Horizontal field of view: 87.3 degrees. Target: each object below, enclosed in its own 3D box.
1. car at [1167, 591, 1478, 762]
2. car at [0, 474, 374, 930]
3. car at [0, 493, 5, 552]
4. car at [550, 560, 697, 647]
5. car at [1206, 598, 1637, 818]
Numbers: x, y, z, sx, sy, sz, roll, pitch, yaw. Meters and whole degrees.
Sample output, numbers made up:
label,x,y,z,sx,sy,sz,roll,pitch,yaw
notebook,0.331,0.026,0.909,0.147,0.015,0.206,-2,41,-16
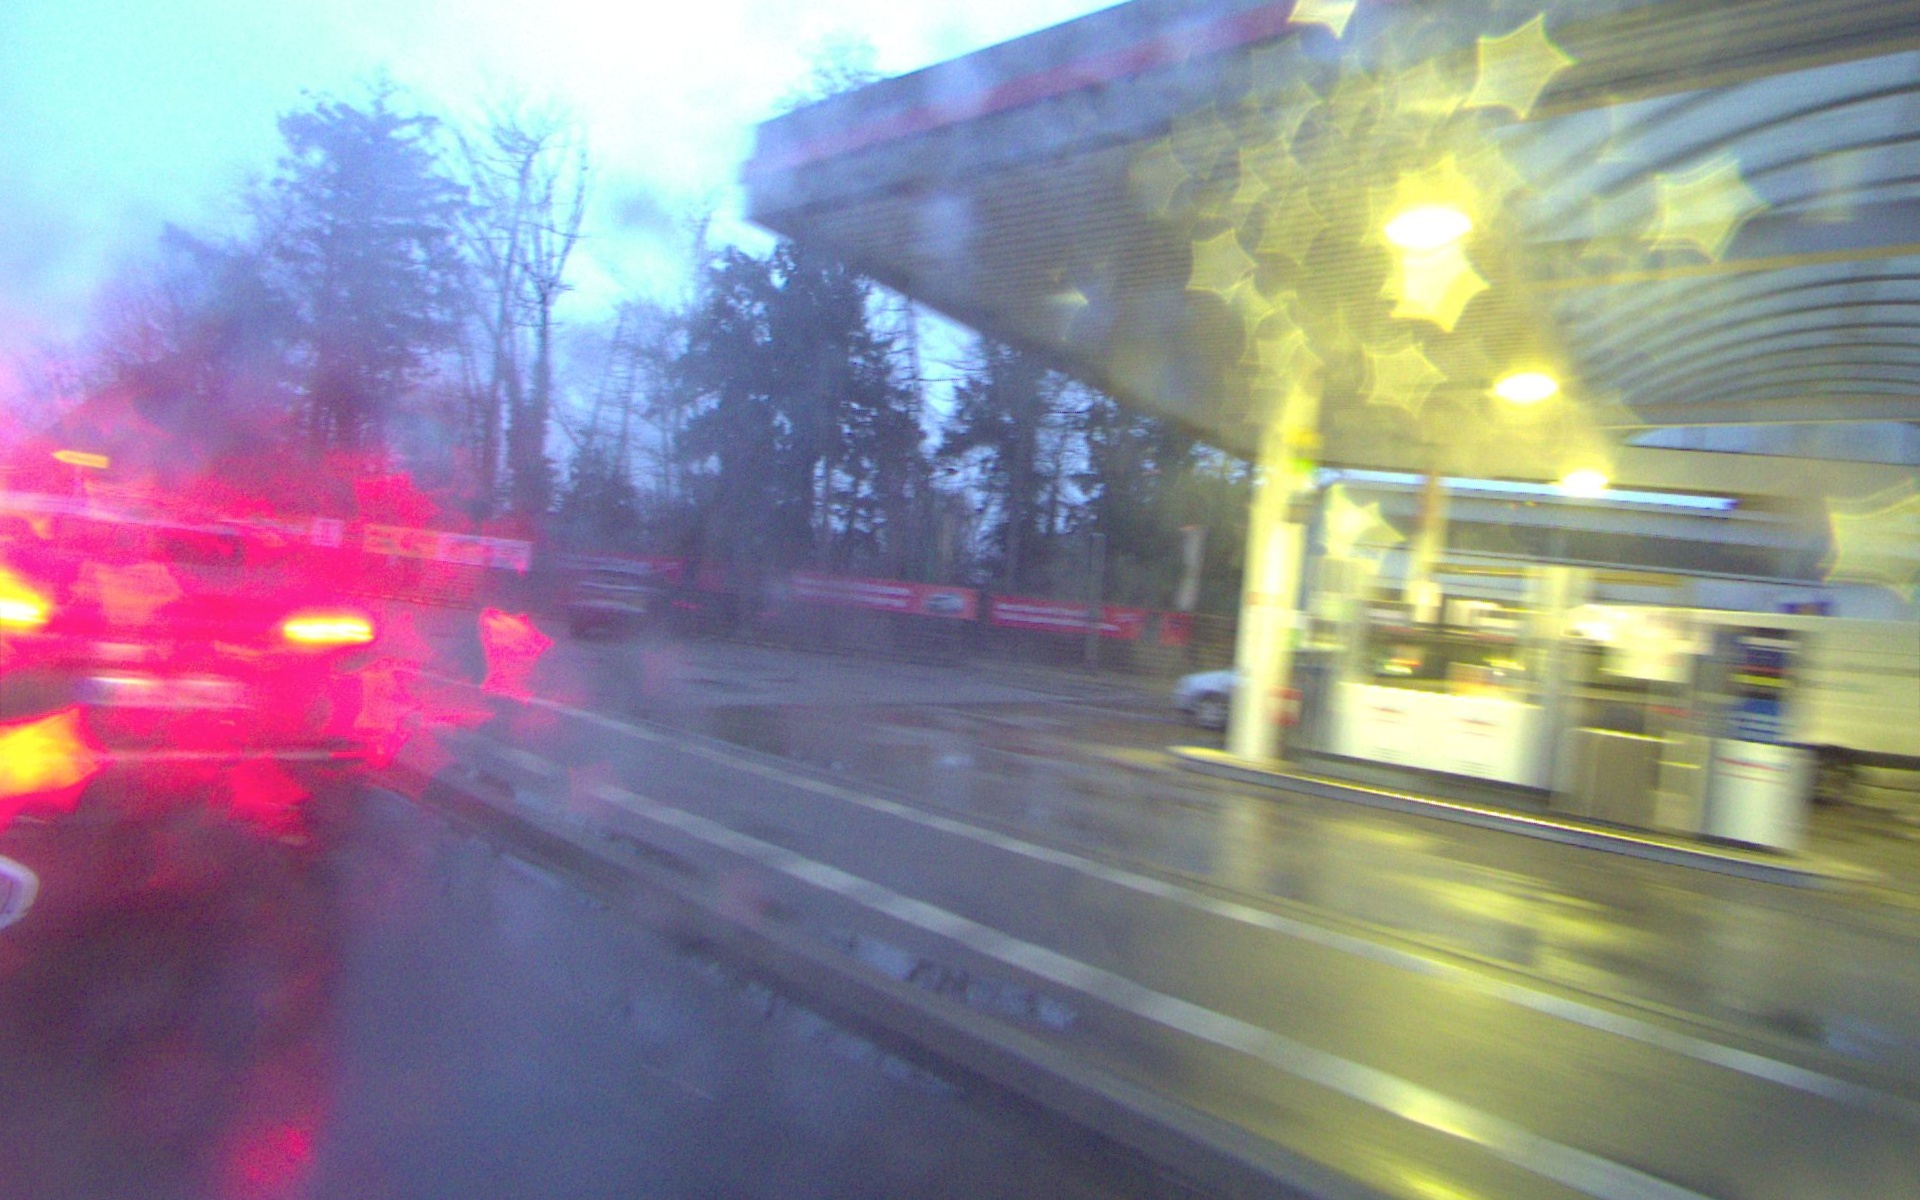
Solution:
label,x,y,z,sx,sy,sz,roll,pitch,yaw
car,5.548,1.105,15.604,3.943,2.038,1.991,6,0,40
car,-4.526,0.235,4.917,3.950,1.547,1.563,6,-1,41
car,-13.497,-0.689,12.610,4.401,1.595,1.706,6,0,41
car,-7.631,0.087,23.328,1.983,1.628,4.481,6,0,-3
car,5.449,1.136,12.159,4.237,1.883,1.990,6,1,40
